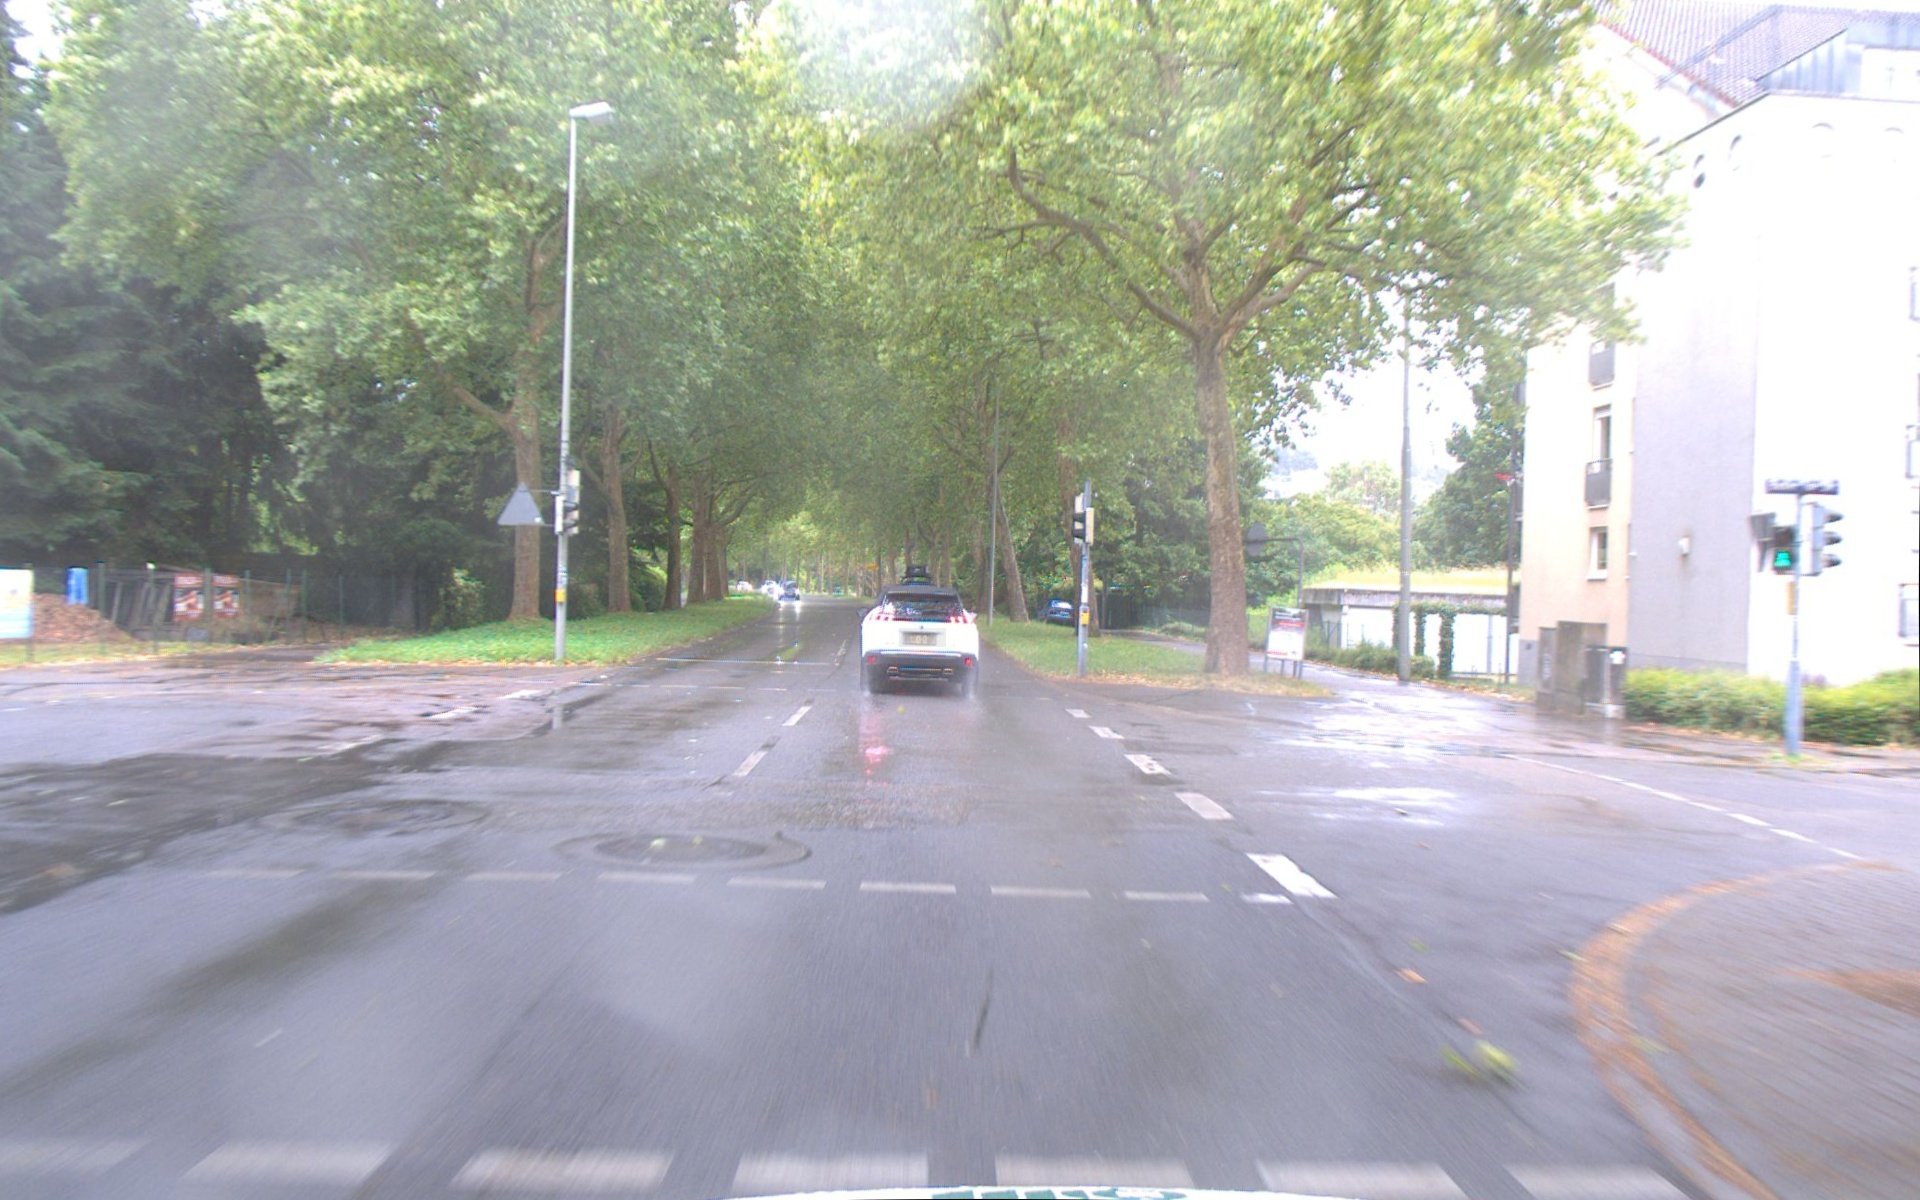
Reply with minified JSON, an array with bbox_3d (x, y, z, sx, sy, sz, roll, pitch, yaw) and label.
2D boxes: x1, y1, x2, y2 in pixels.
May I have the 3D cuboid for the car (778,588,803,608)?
[{"bbox_3d":[-14.622,-0.171,142.894,1.836,1.706,3.706,2,0,-2],"label":"car"}]

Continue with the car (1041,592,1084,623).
[{"bbox_3d":[5.435,0.370,88.088,1.867,1.536,3.929,2,0,-2],"label":"car"}]

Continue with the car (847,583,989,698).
[{"bbox_3d":[-0.728,0.562,25.463,1.746,1.563,4.051,2,1,-7],"label":"car"}]

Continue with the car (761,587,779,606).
[{"bbox_3d":[-21.064,-0.372,183.165,1.707,2.049,3.661,2,0,-4],"label":"car"}]

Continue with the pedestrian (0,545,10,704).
[{"bbox_3d":[-11.347,0.269,18.415,1.011,1.796,0.838,1,0,1],"label":"pedestrian"}]
